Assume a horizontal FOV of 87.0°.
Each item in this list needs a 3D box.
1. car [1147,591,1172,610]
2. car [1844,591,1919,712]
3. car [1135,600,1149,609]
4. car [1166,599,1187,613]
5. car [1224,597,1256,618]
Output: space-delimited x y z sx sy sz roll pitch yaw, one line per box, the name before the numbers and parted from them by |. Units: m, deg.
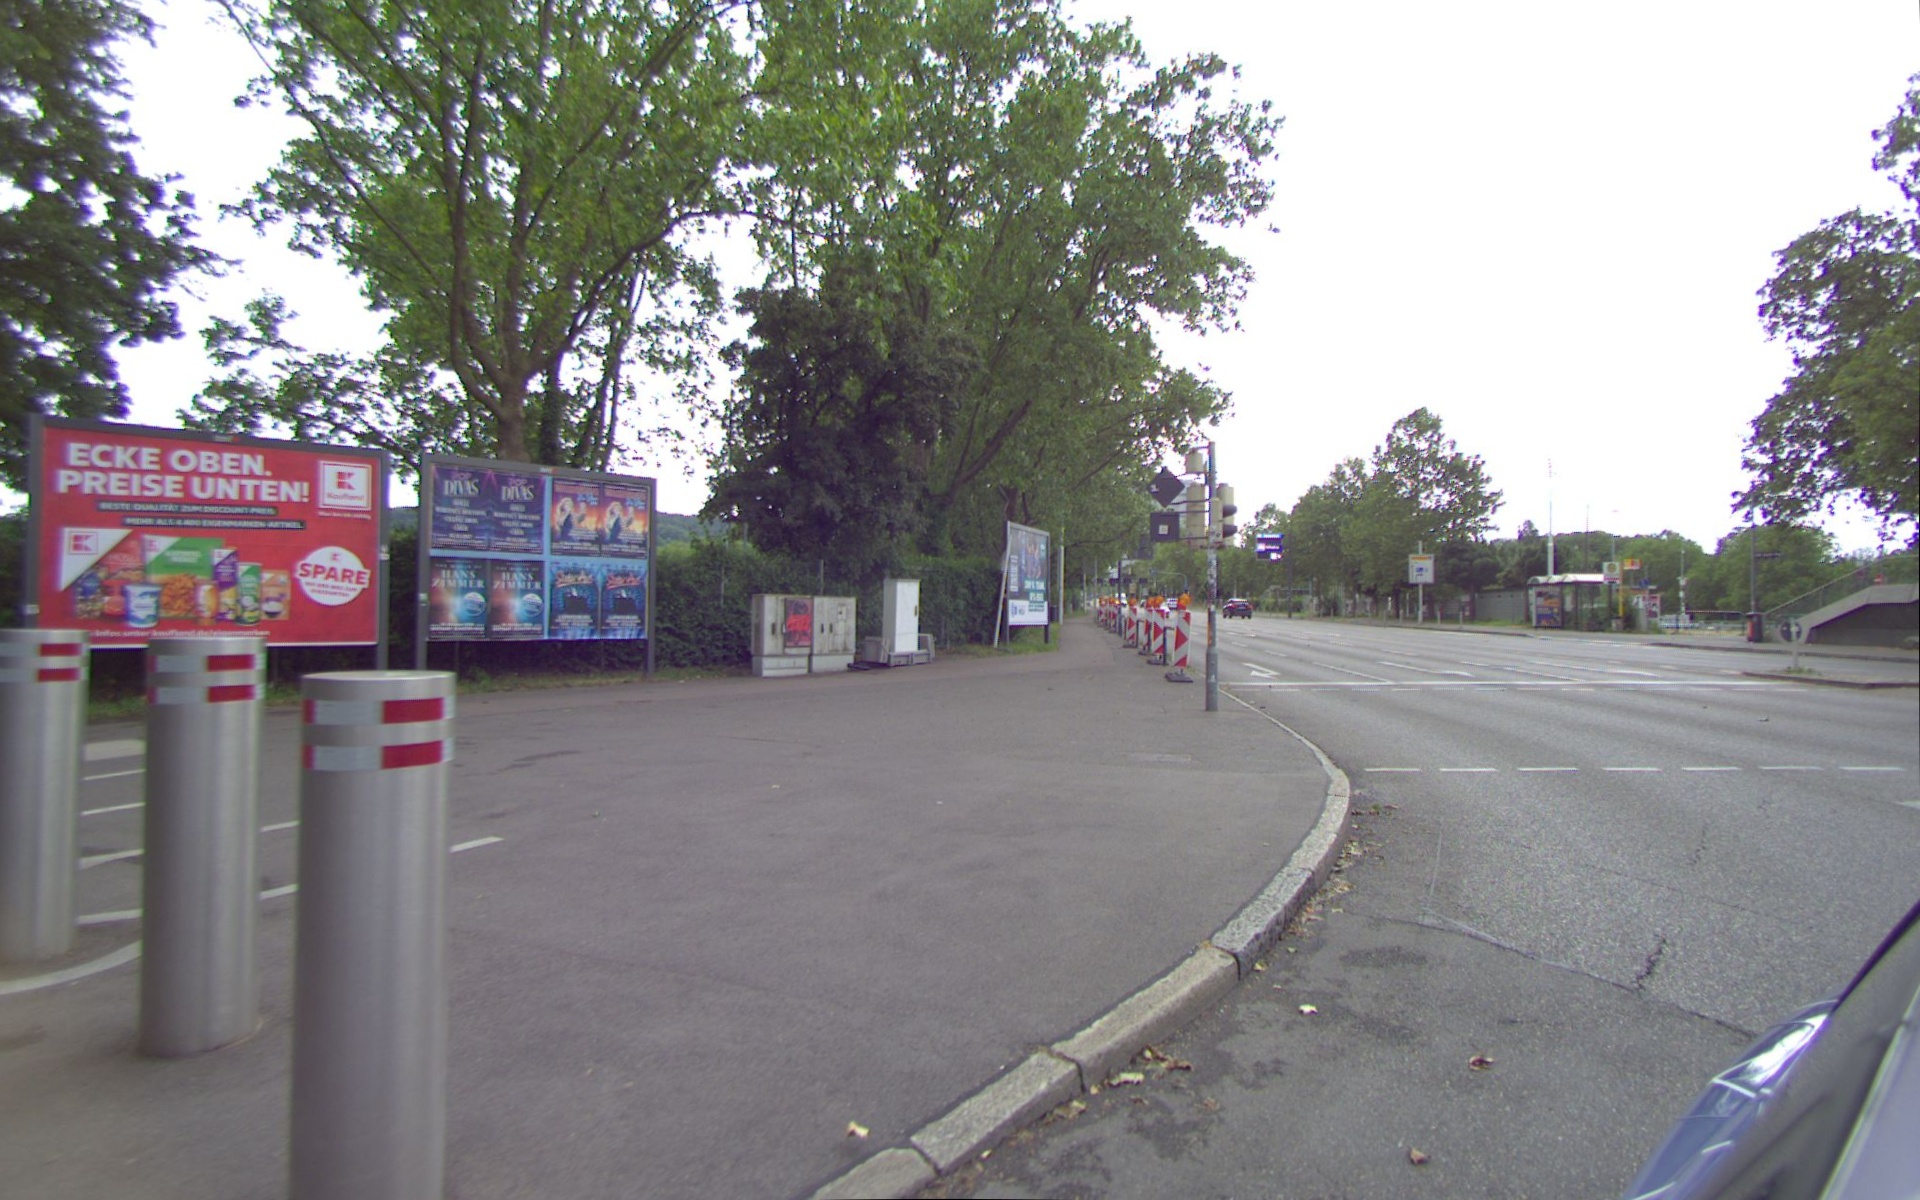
car | 17.017 0.053 86.607 1.769 1.529 3.992 0 0 6
car | 12.500 0.603 11.199 1.800 1.470 4.076 -1 0 0
car | 33.406 0.819 185.697 1.965 1.549 4.718 1 0 5
car | 27.867 0.768 130.408 1.964 1.767 4.589 0 0 5
car | 22.822 0.604 82.641 1.744 1.626 4.420 0 0 6
